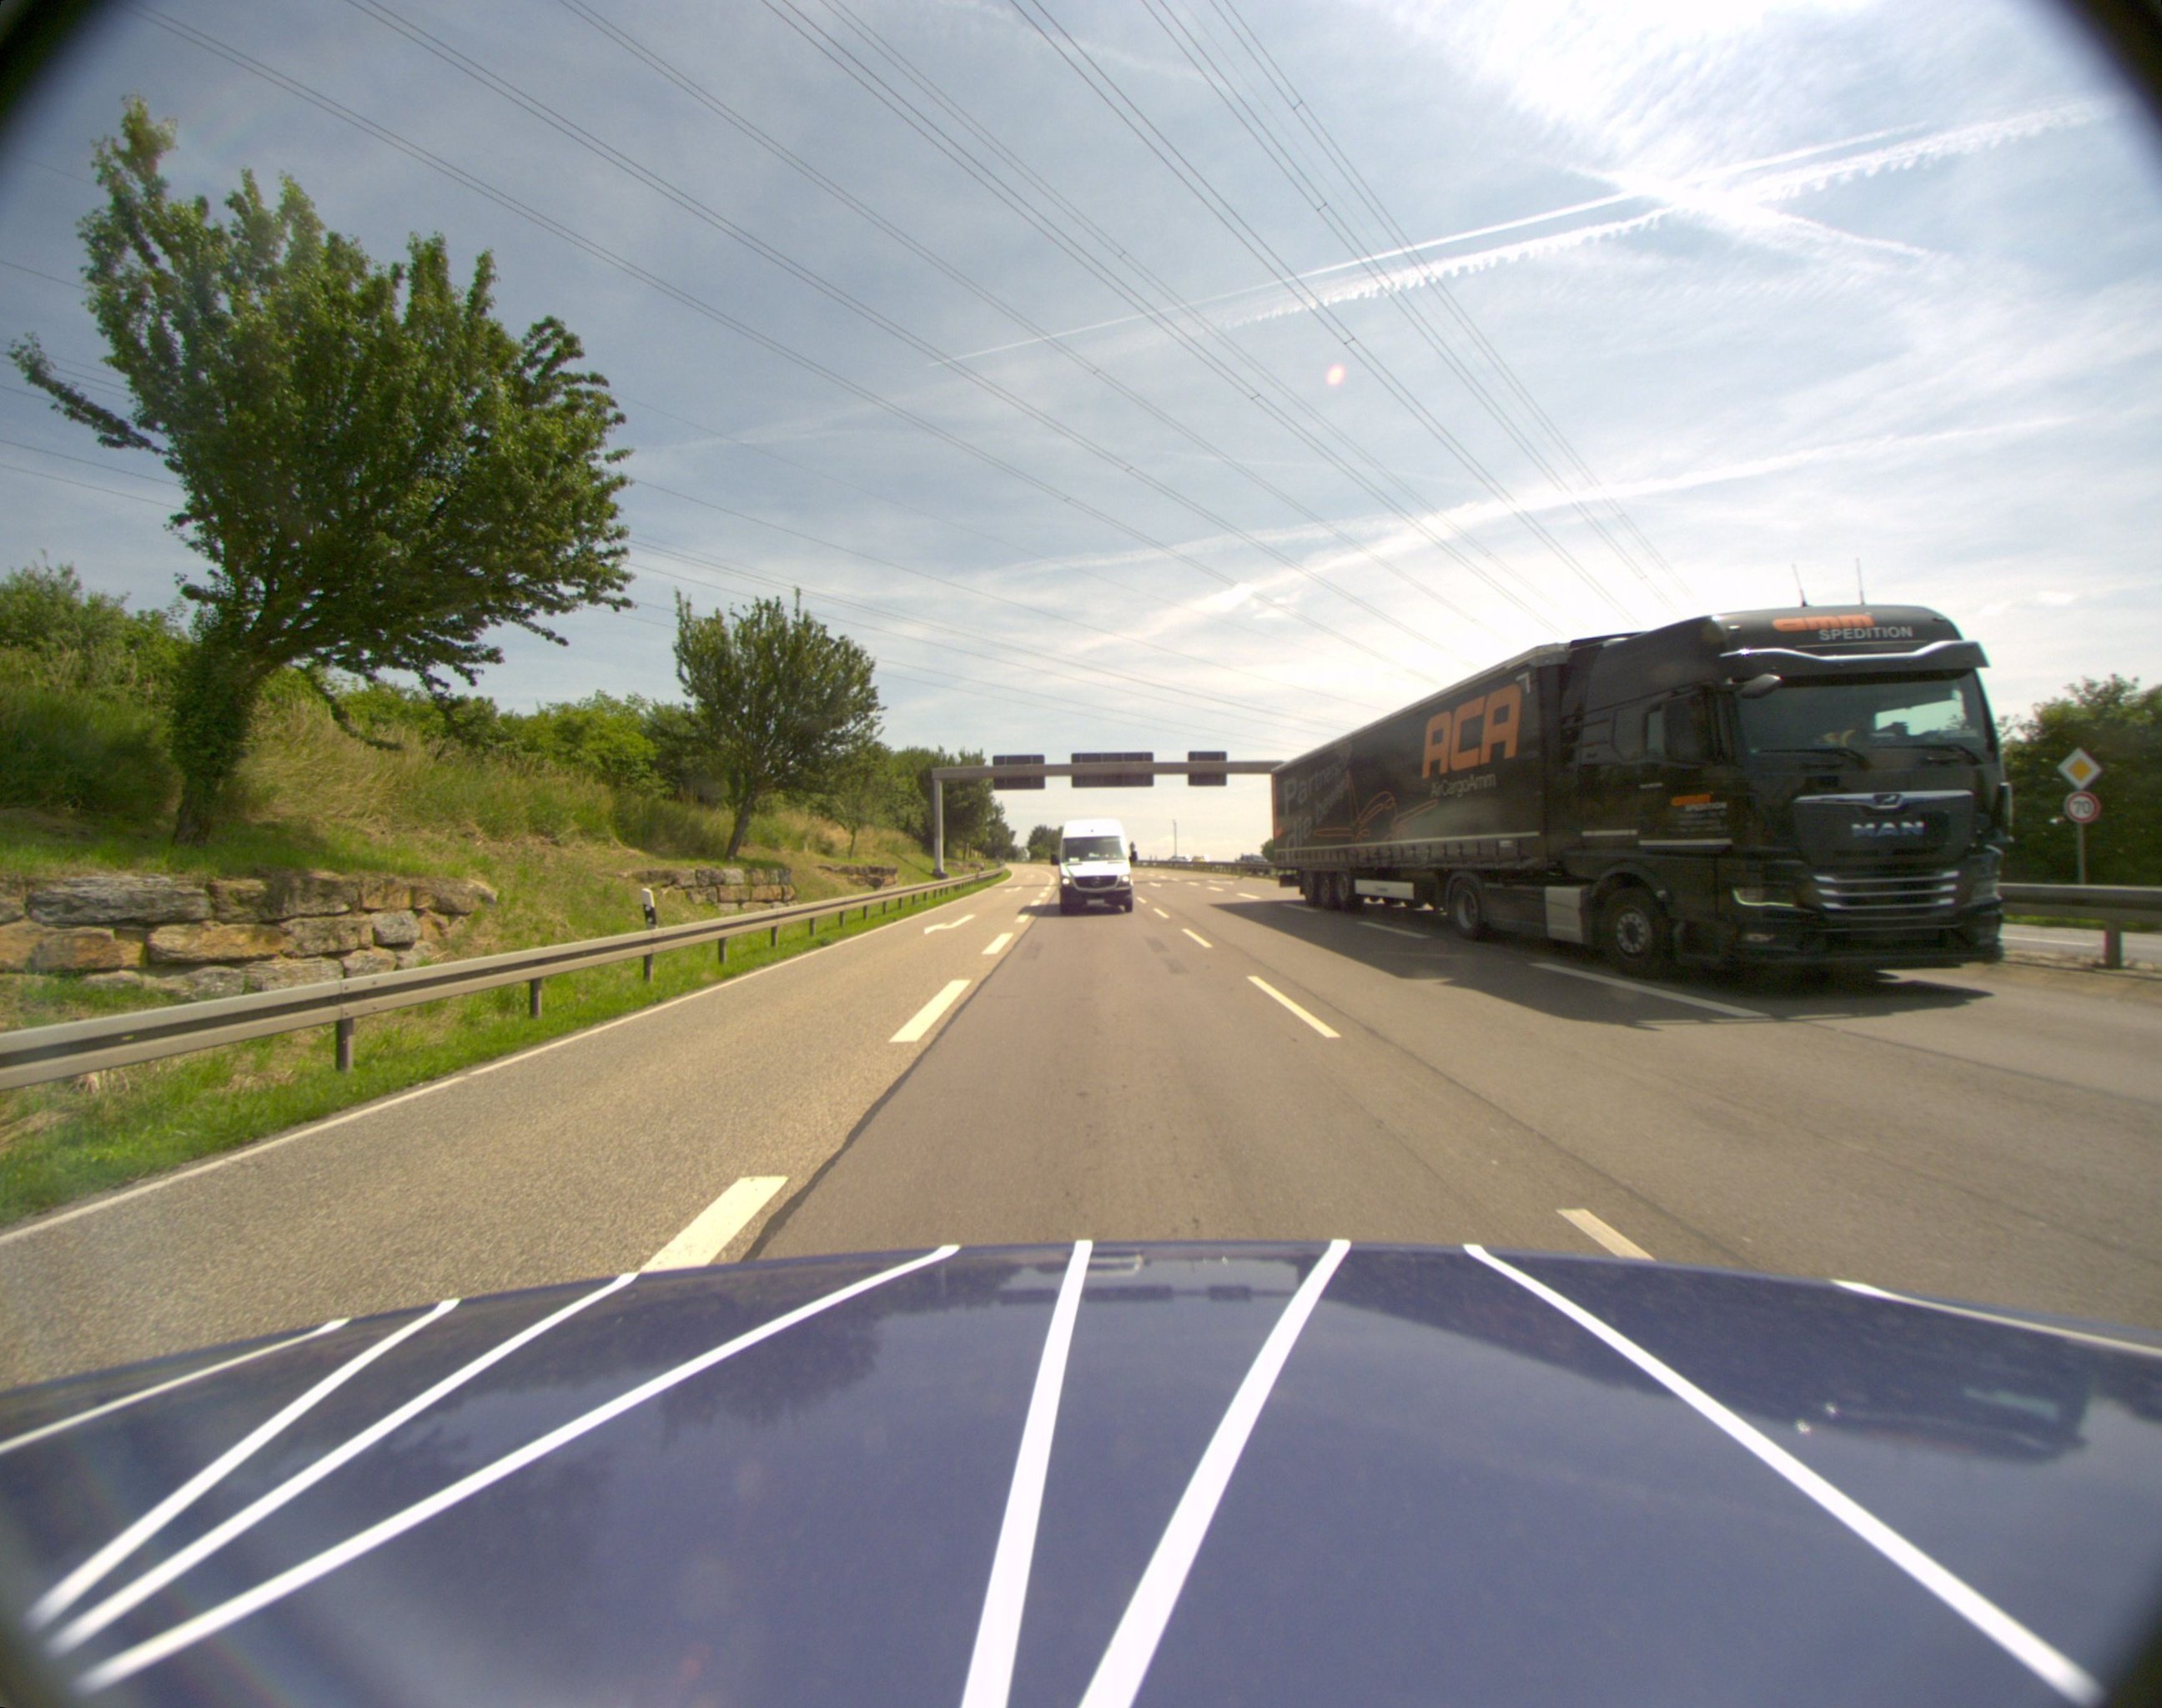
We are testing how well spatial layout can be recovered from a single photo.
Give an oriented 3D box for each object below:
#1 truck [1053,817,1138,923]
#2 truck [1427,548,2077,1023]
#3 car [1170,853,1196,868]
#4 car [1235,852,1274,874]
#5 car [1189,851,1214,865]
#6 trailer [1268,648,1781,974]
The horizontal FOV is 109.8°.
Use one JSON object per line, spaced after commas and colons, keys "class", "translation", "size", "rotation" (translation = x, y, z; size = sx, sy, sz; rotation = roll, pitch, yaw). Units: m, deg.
{"class": "truck", "translation": [0.373, 0.386, 21.100], "size": [1.998, 2.518, 5.105], "rotation": [-2, 0, 0]}
{"class": "truck", "translation": [7.161, -0.599, 9.534], "size": [2.790, 3.990, 5.970], "rotation": [-2, 0, 0]}
{"class": "car", "translation": [10.480, 0.622, 78.592], "size": [1.741, 1.434, 4.322], "rotation": [1, 0, -5]}
{"class": "car", "translation": [12.750, 0.636, 56.004], "size": [1.740, 1.495, 4.323], "rotation": [1, 0, -2]}
{"class": "car", "translation": [13.080, 0.446, 82.708], "size": [1.519, 1.472, 3.700], "rotation": [1, 0, -10]}
{"class": "trailer", "translation": [7.144, -0.562, 16.207], "size": [2.790, 3.891, 13.785], "rotation": [-2, 0, 0]}
